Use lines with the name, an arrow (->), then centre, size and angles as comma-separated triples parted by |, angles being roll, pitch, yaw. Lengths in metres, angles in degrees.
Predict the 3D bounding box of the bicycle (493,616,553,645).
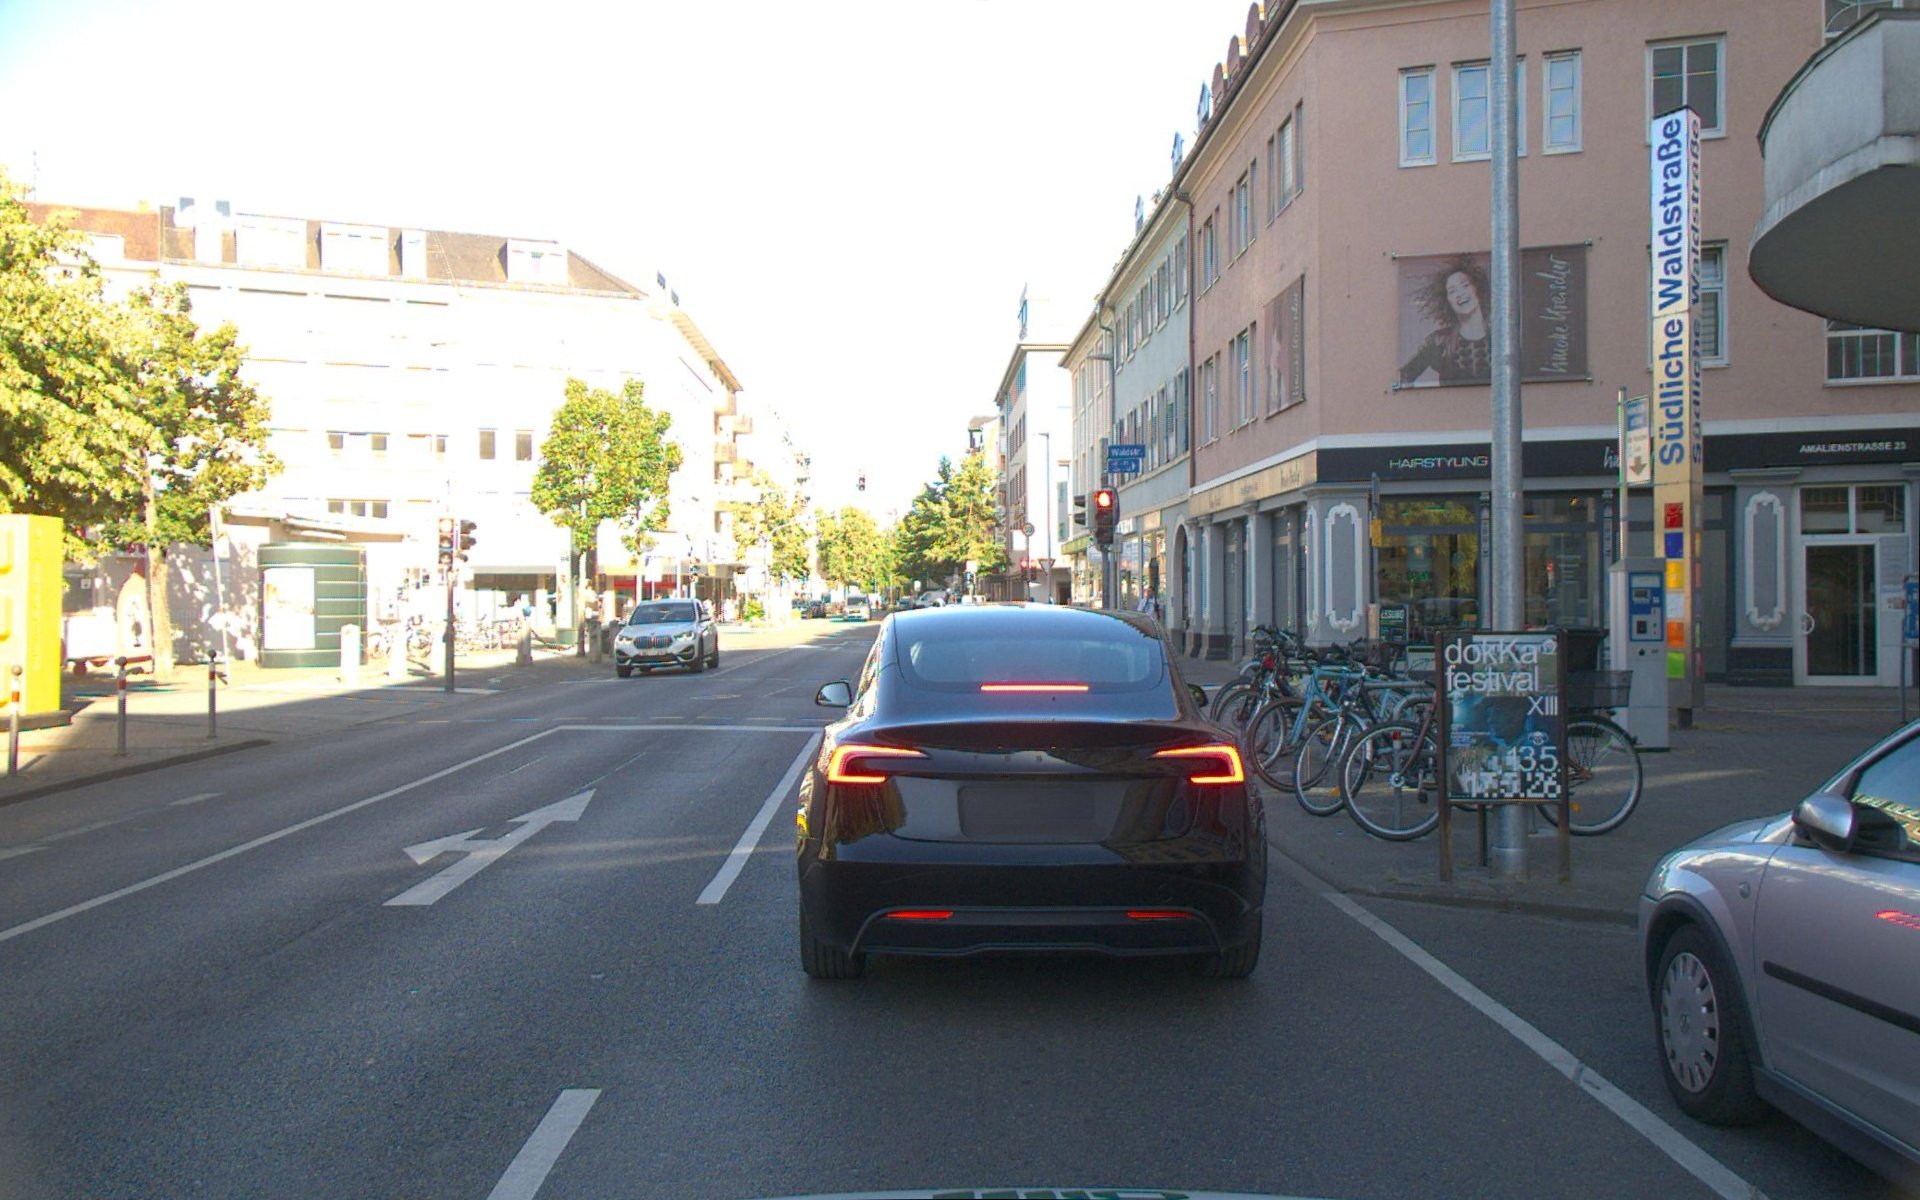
bicycle -> -14.367, 0.991, 54.412 | 1.826, 0.950, 0.606 | 0, 0, -2

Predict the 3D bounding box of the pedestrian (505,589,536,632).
pedestrian -> -21.231, 0.498, 79.901 | 1.035, 2.049, 1.056 | 1, -1, 17

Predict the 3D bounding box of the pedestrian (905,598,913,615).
pedestrian -> -6.262, 0.809, 202.952 | 0.912, 2.049, 0.938 | 1, -1, -1

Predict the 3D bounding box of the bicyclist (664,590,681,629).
bicyclist -> -11.465, 0.378, 65.923 | 0.516, 1.530, 0.472 | 1, -1, -26

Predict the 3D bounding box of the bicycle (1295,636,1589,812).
bicycle -> 3.240, 0.830, 11.199 | 1.834, 1.106, 0.414 | -2, -1, 3

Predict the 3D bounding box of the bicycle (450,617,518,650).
bicycle -> -14.258, 0.999, 49.557 | 1.826, 0.950, 0.606 | 1, 0, -2

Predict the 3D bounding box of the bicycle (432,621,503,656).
bicycle -> -14.022, 1.083, 47.087 | 1.826, 0.950, 0.606 | 1, 0, -2

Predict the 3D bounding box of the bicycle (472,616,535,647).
bicycle -> -14.331, 0.981, 51.964 | 1.826, 0.950, 0.606 | 0, 0, -2

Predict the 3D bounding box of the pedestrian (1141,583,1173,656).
pedestrian -> 4.984, 0.490, 41.897 | 0.735, 1.796, 0.837 | 1, 0, 3

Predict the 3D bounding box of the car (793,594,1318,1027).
car -> 0.300, 0.724, 7.626 | 1.785, 1.467, 3.999 | 0, 0, -1

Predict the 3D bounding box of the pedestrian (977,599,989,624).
pedestrian -> 1.321, 0.646, 95.304 | 0.516, 1.447, 0.474 | 1, -1, -31

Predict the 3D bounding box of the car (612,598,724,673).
car -> -6.289, 0.740, 35.975 | 1.752, 1.485, 3.756 | -2, 0, -1

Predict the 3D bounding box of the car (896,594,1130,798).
car -> 0.310, 0.688, 13.797 | 1.683, 1.450, 3.755 | 0, 0, -2

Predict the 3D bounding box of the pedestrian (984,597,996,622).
pedestrian -> 1.729, 0.544, 95.827 | 0.516, 1.447, 0.474 | 1, -1, -31

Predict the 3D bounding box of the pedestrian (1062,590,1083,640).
pedestrian -> 4.025, 0.522, 59.076 | 0.692, 1.773, 0.540 | 0, 0, -1

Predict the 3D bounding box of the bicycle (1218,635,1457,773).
bicycle -> 3.085, 0.850, 13.623 | 1.833, 1.056, 0.548 | -2, -1, 5

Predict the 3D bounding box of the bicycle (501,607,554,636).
bicycle -> -20.304, 1.018, 77.688 | 2.334, 1.318, 0.509 | 1, -1, -27

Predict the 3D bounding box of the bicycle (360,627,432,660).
bicycle -> -14.452, 1.108, 42.400 | 1.612, 0.806, 0.606 | 1, 0, -5

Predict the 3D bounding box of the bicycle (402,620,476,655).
bicycle -> -14.165, 1.019, 44.988 | 1.826, 0.950, 0.606 | 0, 0, -2

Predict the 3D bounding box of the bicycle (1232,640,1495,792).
bicycle -> 3.022, 0.866, 12.490 | 1.834, 1.056, 0.533 | -2, -1, 3

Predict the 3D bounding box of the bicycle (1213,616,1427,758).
bicycle -> 3.198, 0.769, 14.792 | 1.789, 1.189, 0.506 | -2, -1, 5

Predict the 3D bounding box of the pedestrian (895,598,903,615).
pedestrian -> -7.526, 0.788, 203.018 | 0.912, 2.049, 0.938 | 1, -1, -1

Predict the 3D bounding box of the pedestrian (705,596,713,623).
pedestrian -> -14.360, 0.543, 94.629 | 0.451, 1.486, 0.517 | 0, 0, -6

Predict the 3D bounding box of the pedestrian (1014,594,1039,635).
pedestrian -> 2.791, 0.606, 69.384 | 0.742, 1.660, 0.951 | 1, -1, -18

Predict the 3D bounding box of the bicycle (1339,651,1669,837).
bicycle -> 3.268, 0.867, 10.020 | 1.833, 1.056, 0.353 | -2, -1, 6

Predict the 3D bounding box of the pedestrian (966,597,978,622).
pedestrian -> 0.673, 0.537, 95.690 | 0.467, 1.442, 0.516 | 1, -1, -32

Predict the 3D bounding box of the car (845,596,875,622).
car -> -6.641, 0.590, 110.166 | 1.751, 1.675, 4.401 | 1, 0, -1

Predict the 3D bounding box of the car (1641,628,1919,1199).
car -> 2.911, 0.793, 3.503 | 1.515, 1.415, 3.476 | 0, 0, 0
